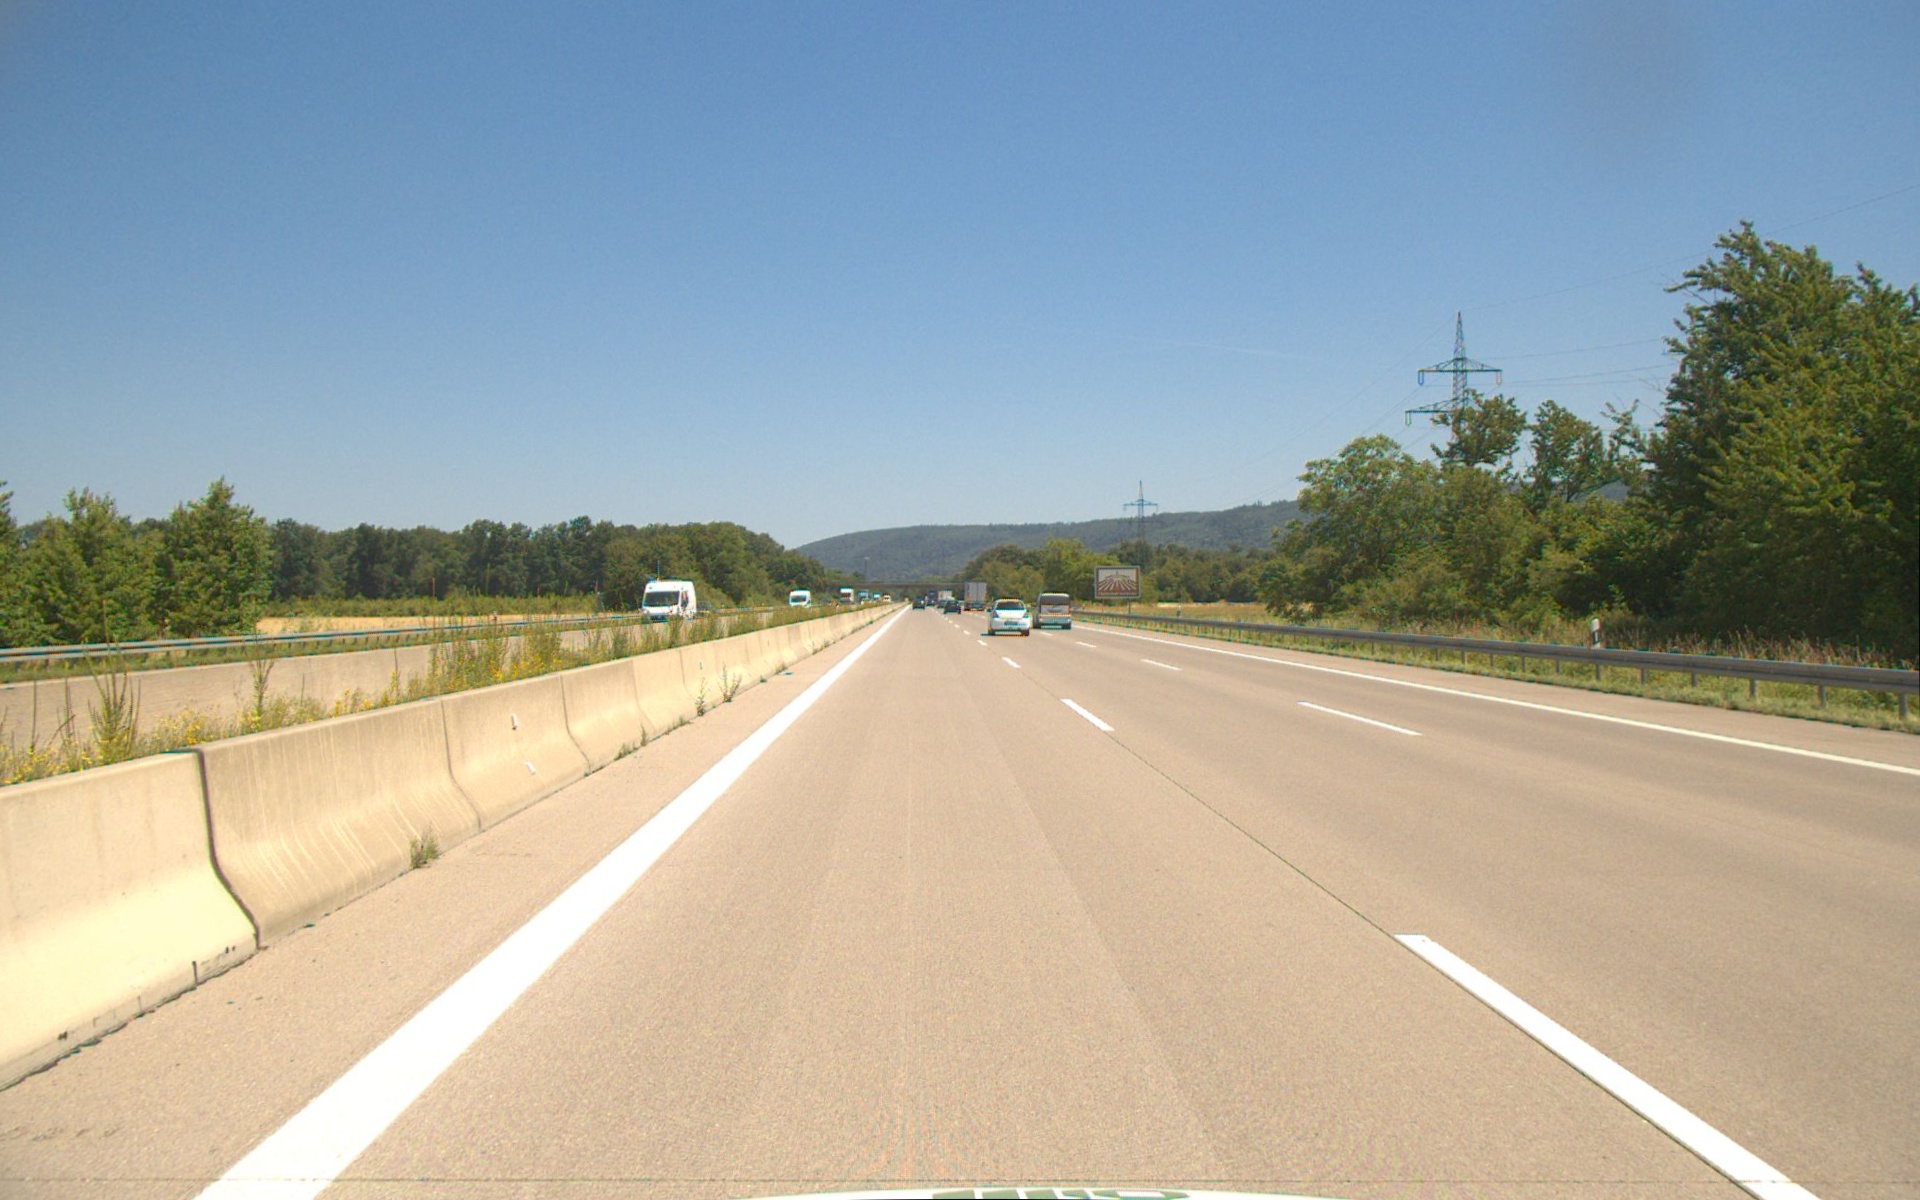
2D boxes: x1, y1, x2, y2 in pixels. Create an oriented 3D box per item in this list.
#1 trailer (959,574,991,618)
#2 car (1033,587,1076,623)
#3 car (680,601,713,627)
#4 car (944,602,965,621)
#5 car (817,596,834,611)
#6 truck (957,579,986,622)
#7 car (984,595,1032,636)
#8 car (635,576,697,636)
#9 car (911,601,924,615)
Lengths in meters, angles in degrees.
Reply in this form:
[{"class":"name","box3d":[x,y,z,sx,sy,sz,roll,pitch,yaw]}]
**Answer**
[{"class":"trailer","box3d":[1.977,-0.563,229.020,3.647,5.913,12.154,1,0,-3]},{"class":"car","box3d":[5.132,0.257,90.074,1.953,1.881,3.998,1,0,-2]},{"class":"car","box3d":[-18.755,0.971,117.886,1.718,1.713,4.840,1,0,-2]},{"class":"car","box3d":[-0.627,1.225,173.058,1.954,1.881,3.998,3,0,-3]},{"class":"car","box3d":[-18.539,0.501,228.785,1.953,1.948,4.401,1,0,0]},{"class":"truck","box3d":[1.628,0.075,235.117,3.647,5.913,7.049,1,0,-3]},{"class":"car","box3d":[2.044,0.658,71.152,1.783,1.691,3.998,0,0,-2]},{"class":"car","box3d":[-14.604,0.286,82.593,2.219,2.837,7.066,1,0,-4]},{"class":"car","box3d":[-6.029,1.141,234.553,1.890,1.825,3.998,1,0,-2]}]
